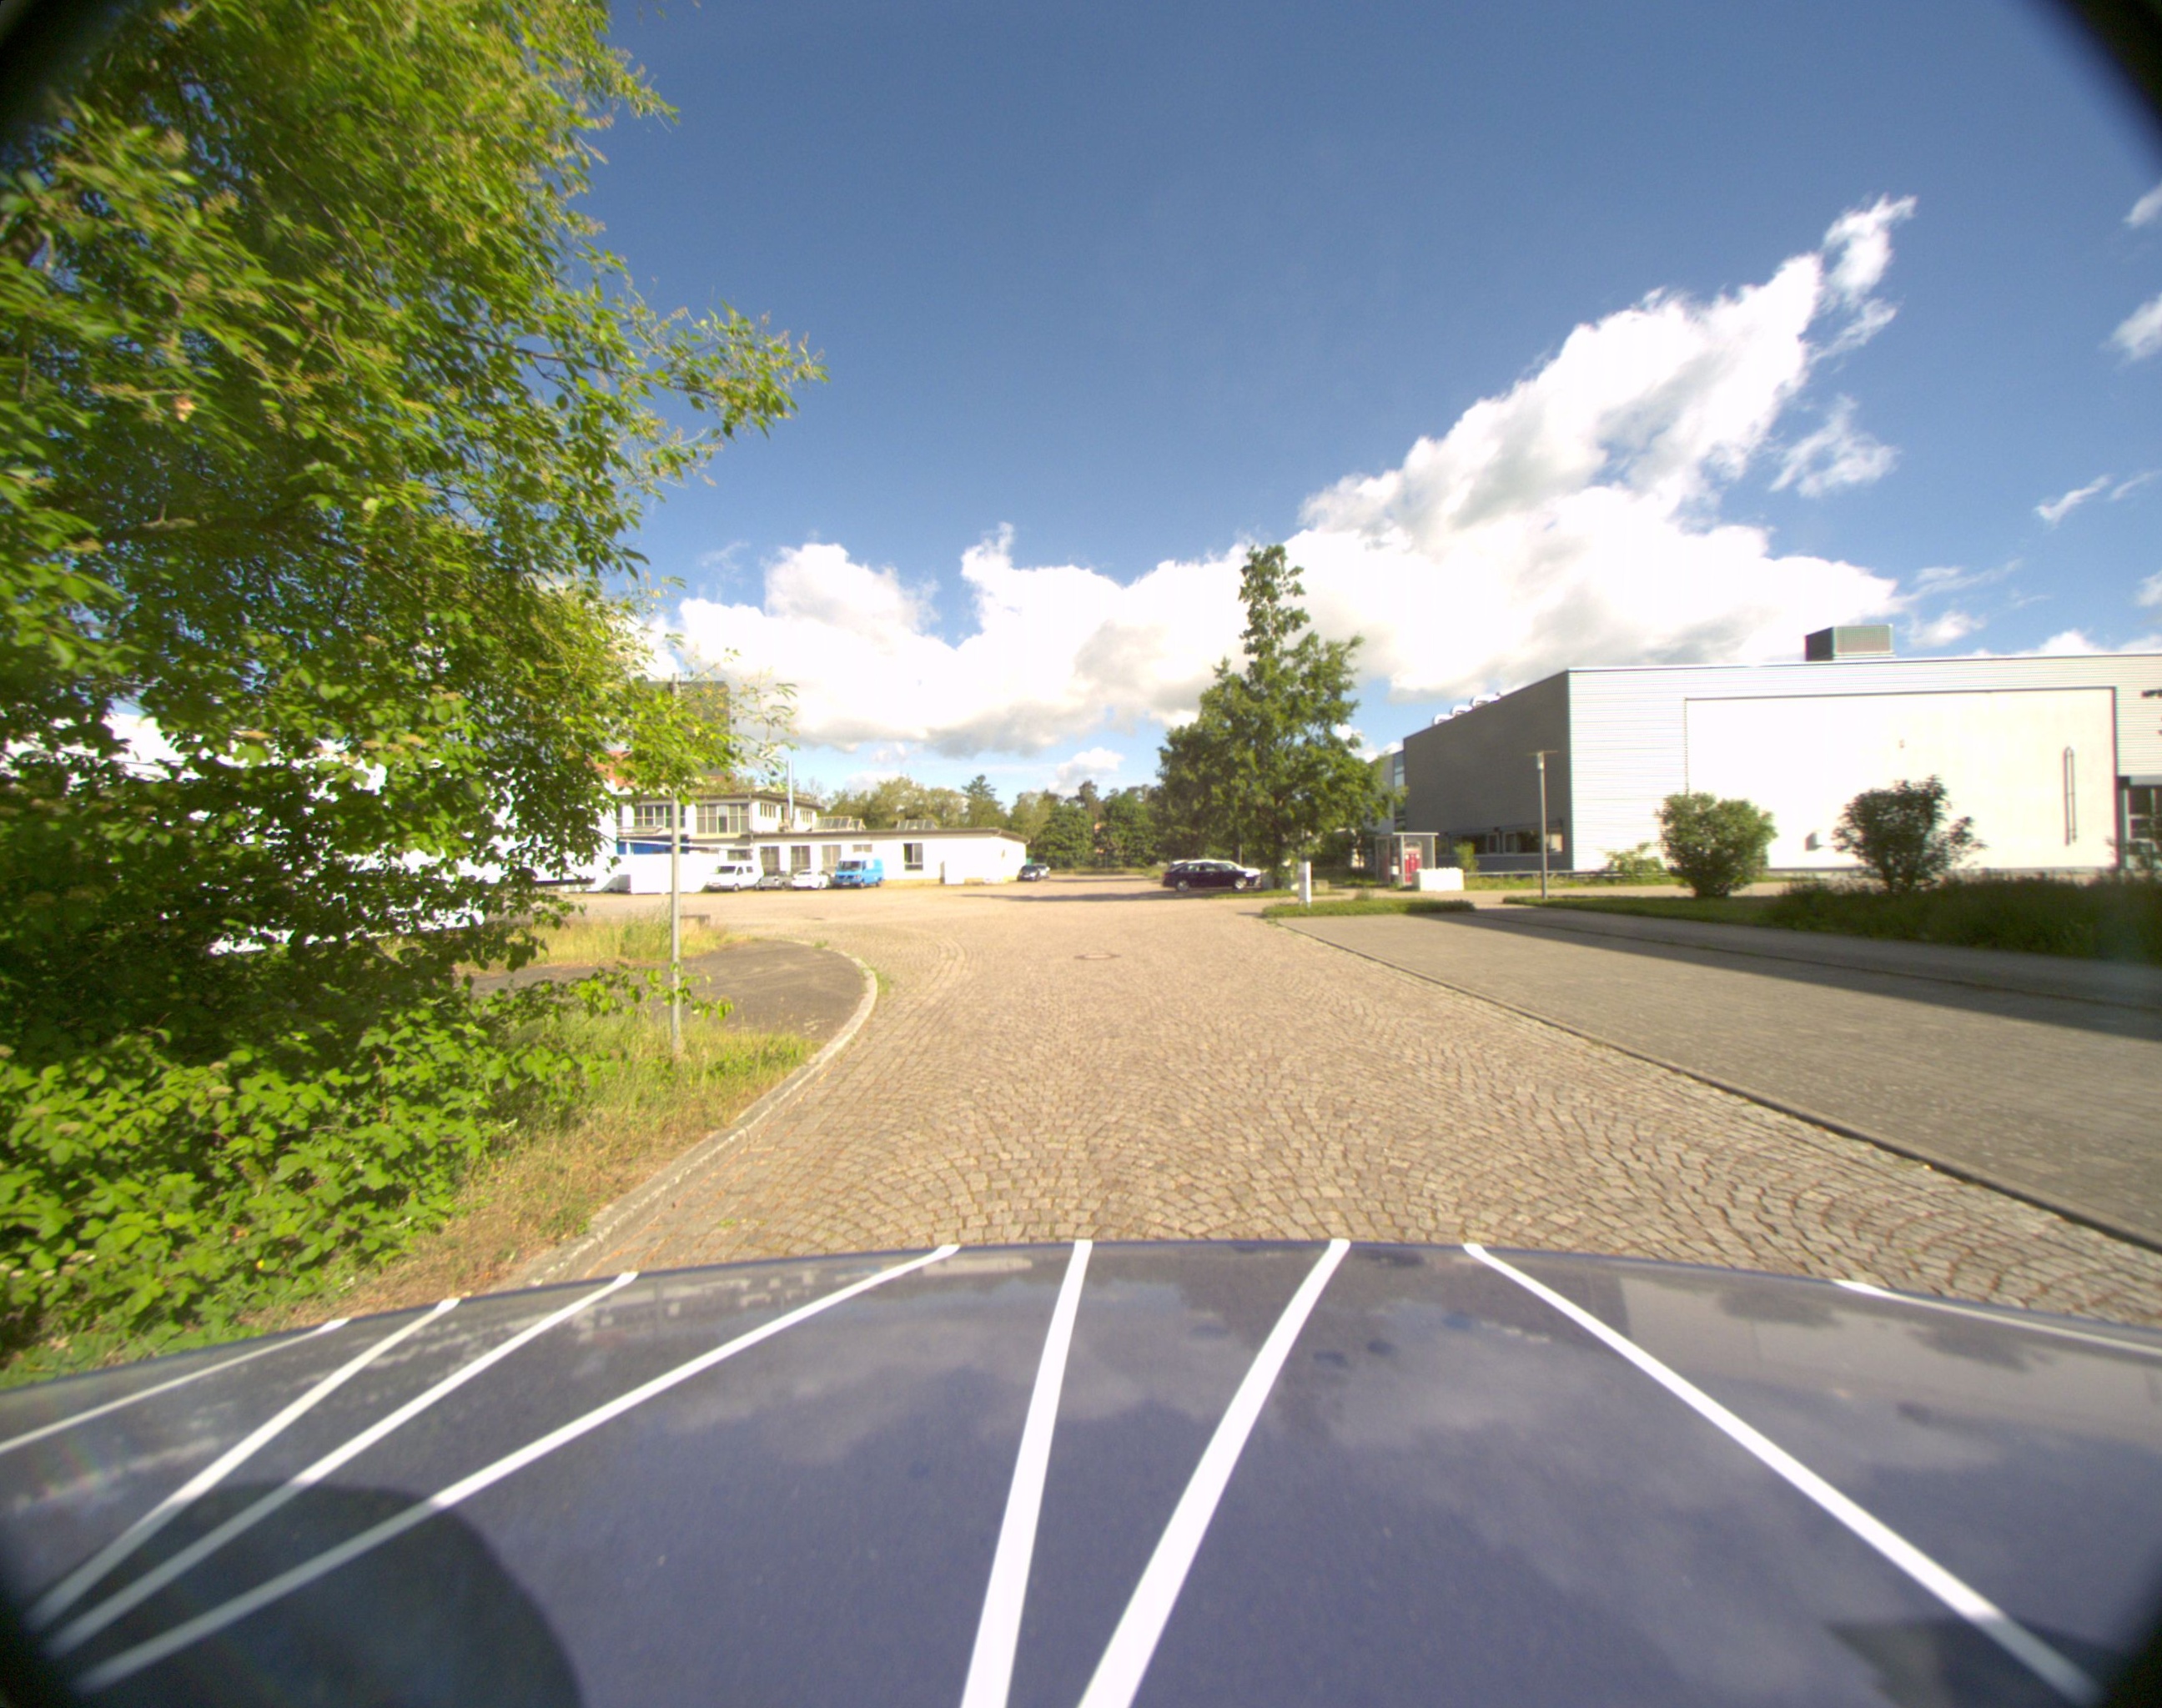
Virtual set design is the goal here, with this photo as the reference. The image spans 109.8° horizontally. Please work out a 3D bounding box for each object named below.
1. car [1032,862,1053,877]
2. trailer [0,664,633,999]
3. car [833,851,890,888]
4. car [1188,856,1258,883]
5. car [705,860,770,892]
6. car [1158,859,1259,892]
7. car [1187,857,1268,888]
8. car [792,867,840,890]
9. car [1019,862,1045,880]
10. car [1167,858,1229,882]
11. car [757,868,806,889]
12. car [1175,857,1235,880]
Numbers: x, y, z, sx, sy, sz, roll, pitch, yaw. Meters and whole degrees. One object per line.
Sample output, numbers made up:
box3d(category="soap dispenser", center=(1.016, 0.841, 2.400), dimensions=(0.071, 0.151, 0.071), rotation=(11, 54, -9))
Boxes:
box3d(category="car", center=(-3.776, 1.556, 75.567), dimensions=(1.691, 1.427, 3.988), rotation=(-1, 0, 3))
box3d(category="trailer", center=(-13.414, -0.187, 14.330), dimensions=(2.778, 3.887, 10.890), rotation=(-1, 0, 4))
box3d(category="car", center=(-15.499, 1.074, 53.945), dimensions=(2.087, 2.468, 5.241), rotation=(-1, 0, 5))
box3d(category="car", center=(8.557, 0.935, 45.989), dimensions=(3.921, 1.438, 1.756), rotation=(-3, 0, 3))
box3d(category="car", center=(-24.057, 1.486, 53.429), dimensions=(2.007, 2.069, 4.806), rotation=(-1, 0, 5))
box3d(category="car", center=(6.320, 1.052, 38.136), dimensions=(4.730, 1.414, 1.757), rotation=(-3, 0, 1))
box3d(category="car", center=(7.802, 0.978, 40.778), dimensions=(4.146, 1.451, 1.692), rotation=(-3, 0, 7))
box3d(category="car", center=(-18.387, 1.685, 52.801), dimensions=(1.736, 1.397, 3.739), rotation=(-2, 1, 5))
box3d(category="car", center=(-4.191, 1.422, 65.226), dimensions=(1.767, 1.427, 3.993), rotation=(-1, 0, 3))
box3d(category="car", center=(7.843, 1.094, 51.035), dimensions=(3.921, 1.409, 1.693), rotation=(-3, 0, 3))
box3d(category="car", center=(-21.154, 1.730, 53.856), dimensions=(1.690, 1.390, 3.833), rotation=(-1, 0, 5))
box3d(category="car", center=(8.713, 0.998, 53.651), dimensions=(3.921, 1.427, 1.796), rotation=(-3, 0, 3))
